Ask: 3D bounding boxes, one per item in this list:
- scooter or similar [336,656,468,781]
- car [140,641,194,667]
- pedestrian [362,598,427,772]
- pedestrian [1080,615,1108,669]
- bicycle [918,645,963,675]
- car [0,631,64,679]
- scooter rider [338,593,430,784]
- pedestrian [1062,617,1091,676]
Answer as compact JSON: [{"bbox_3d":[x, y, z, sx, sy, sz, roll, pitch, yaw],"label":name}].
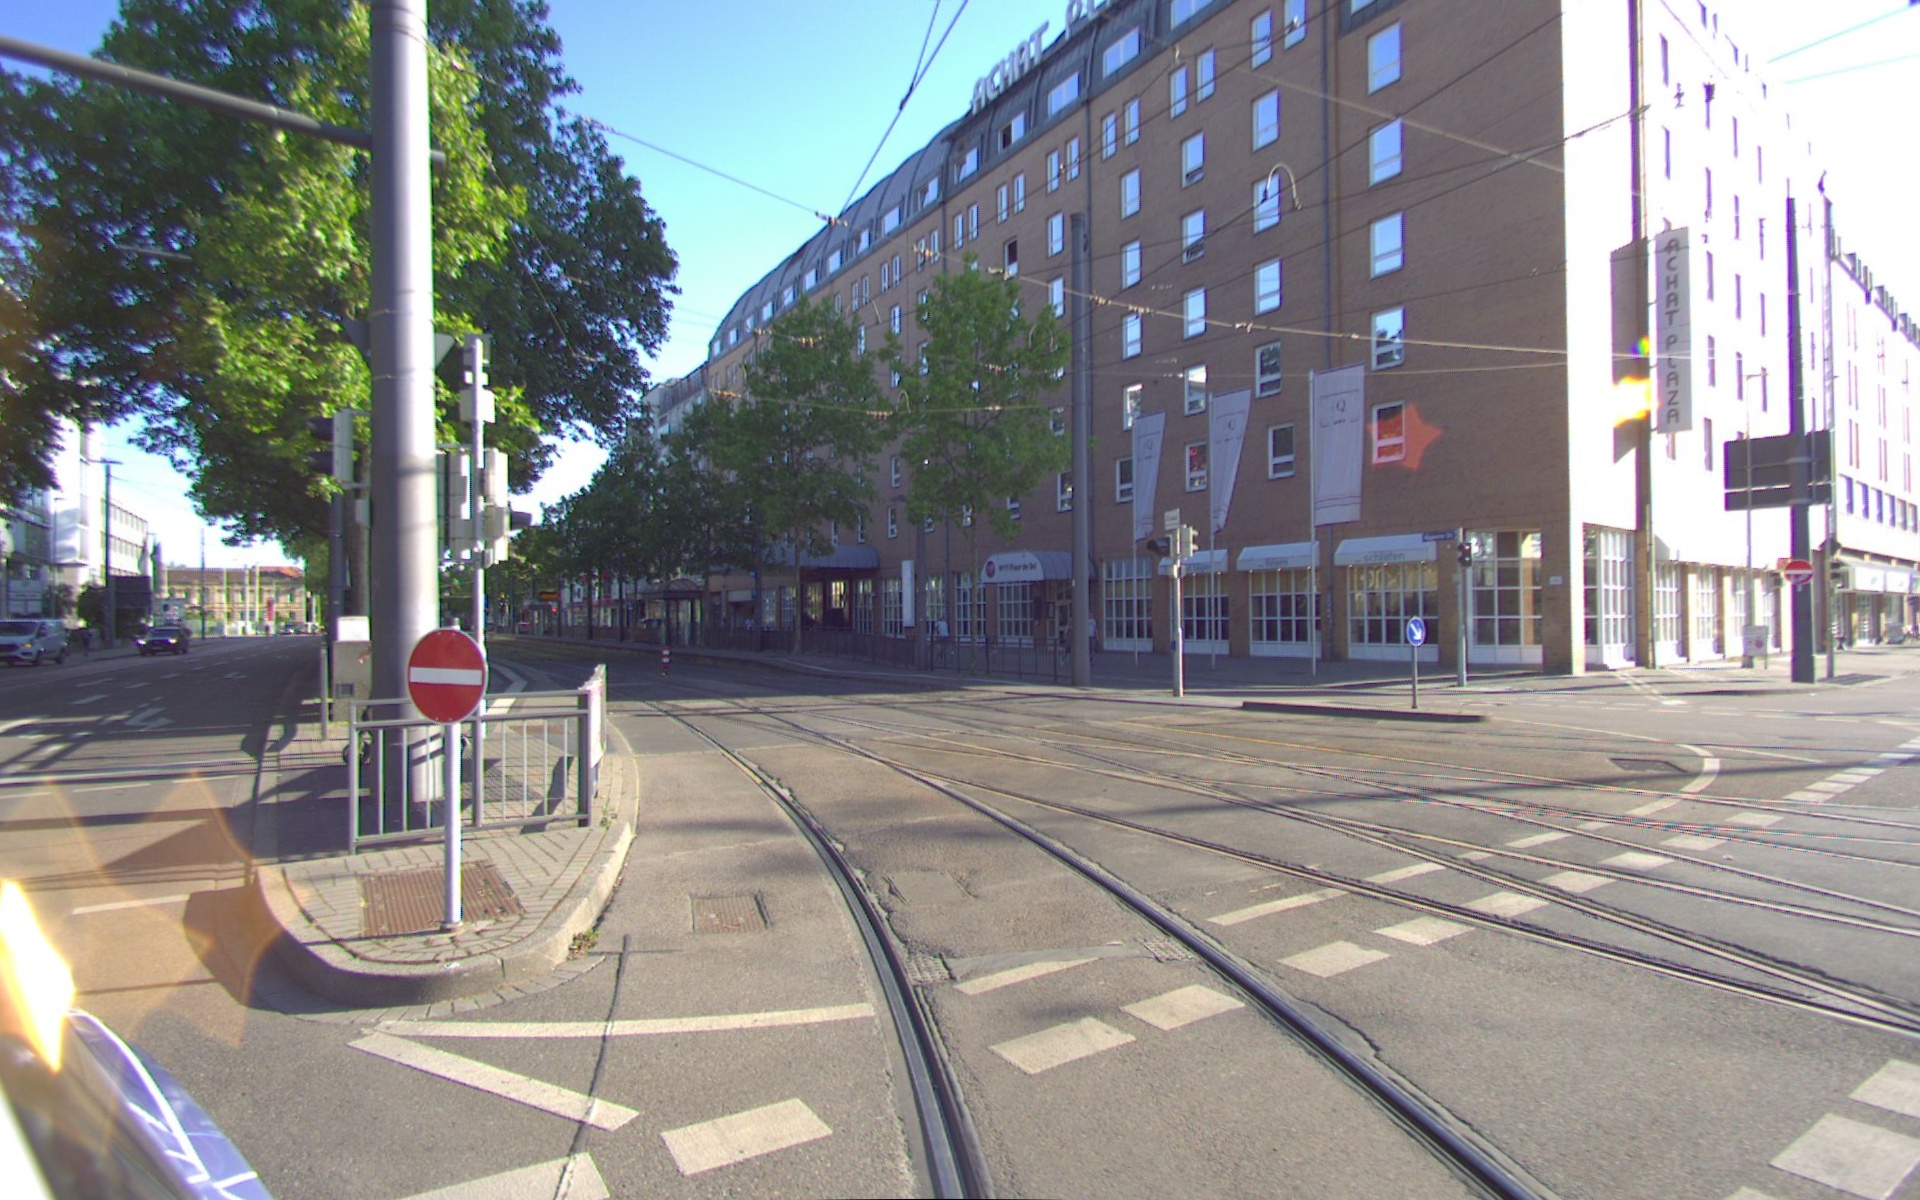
[{"bbox_3d":[-5.653,1.177,10.308,1.140,1.188,0.457,0,-2,-25],"label":"scooter or similar"},{"bbox_3d":[-47.617,3.237,60.842,1.663,1.439,4.013,-1,-1,-24],"label":"car"},{"bbox_3d":[-6.120,0.895,10.972,0.560,1.810,0.675,0,-2,-26],"label":"pedestrian"},{"bbox_3d":[4.426,1.379,33.389,0.637,1.756,0.707,-1,-2,-19],"label":"pedestrian"},{"bbox_3d":[-0.734,2.207,37.507,0.604,1.026,2.159,1,-2,-34],"label":"bicycle"},{"bbox_3d":[-40.741,2.345,43.733,1.939,1.960,4.981,0,-2,-29],"label":"car"},{"bbox_3d":[-5.809,0.862,10.239,0.750,1.847,0.590,0,-2,-25],"label":"scooter rider"},{"bbox_3d":[3.818,1.526,33.205,0.637,1.910,0.748,0,-2,-19],"label":"pedestrian"}]
